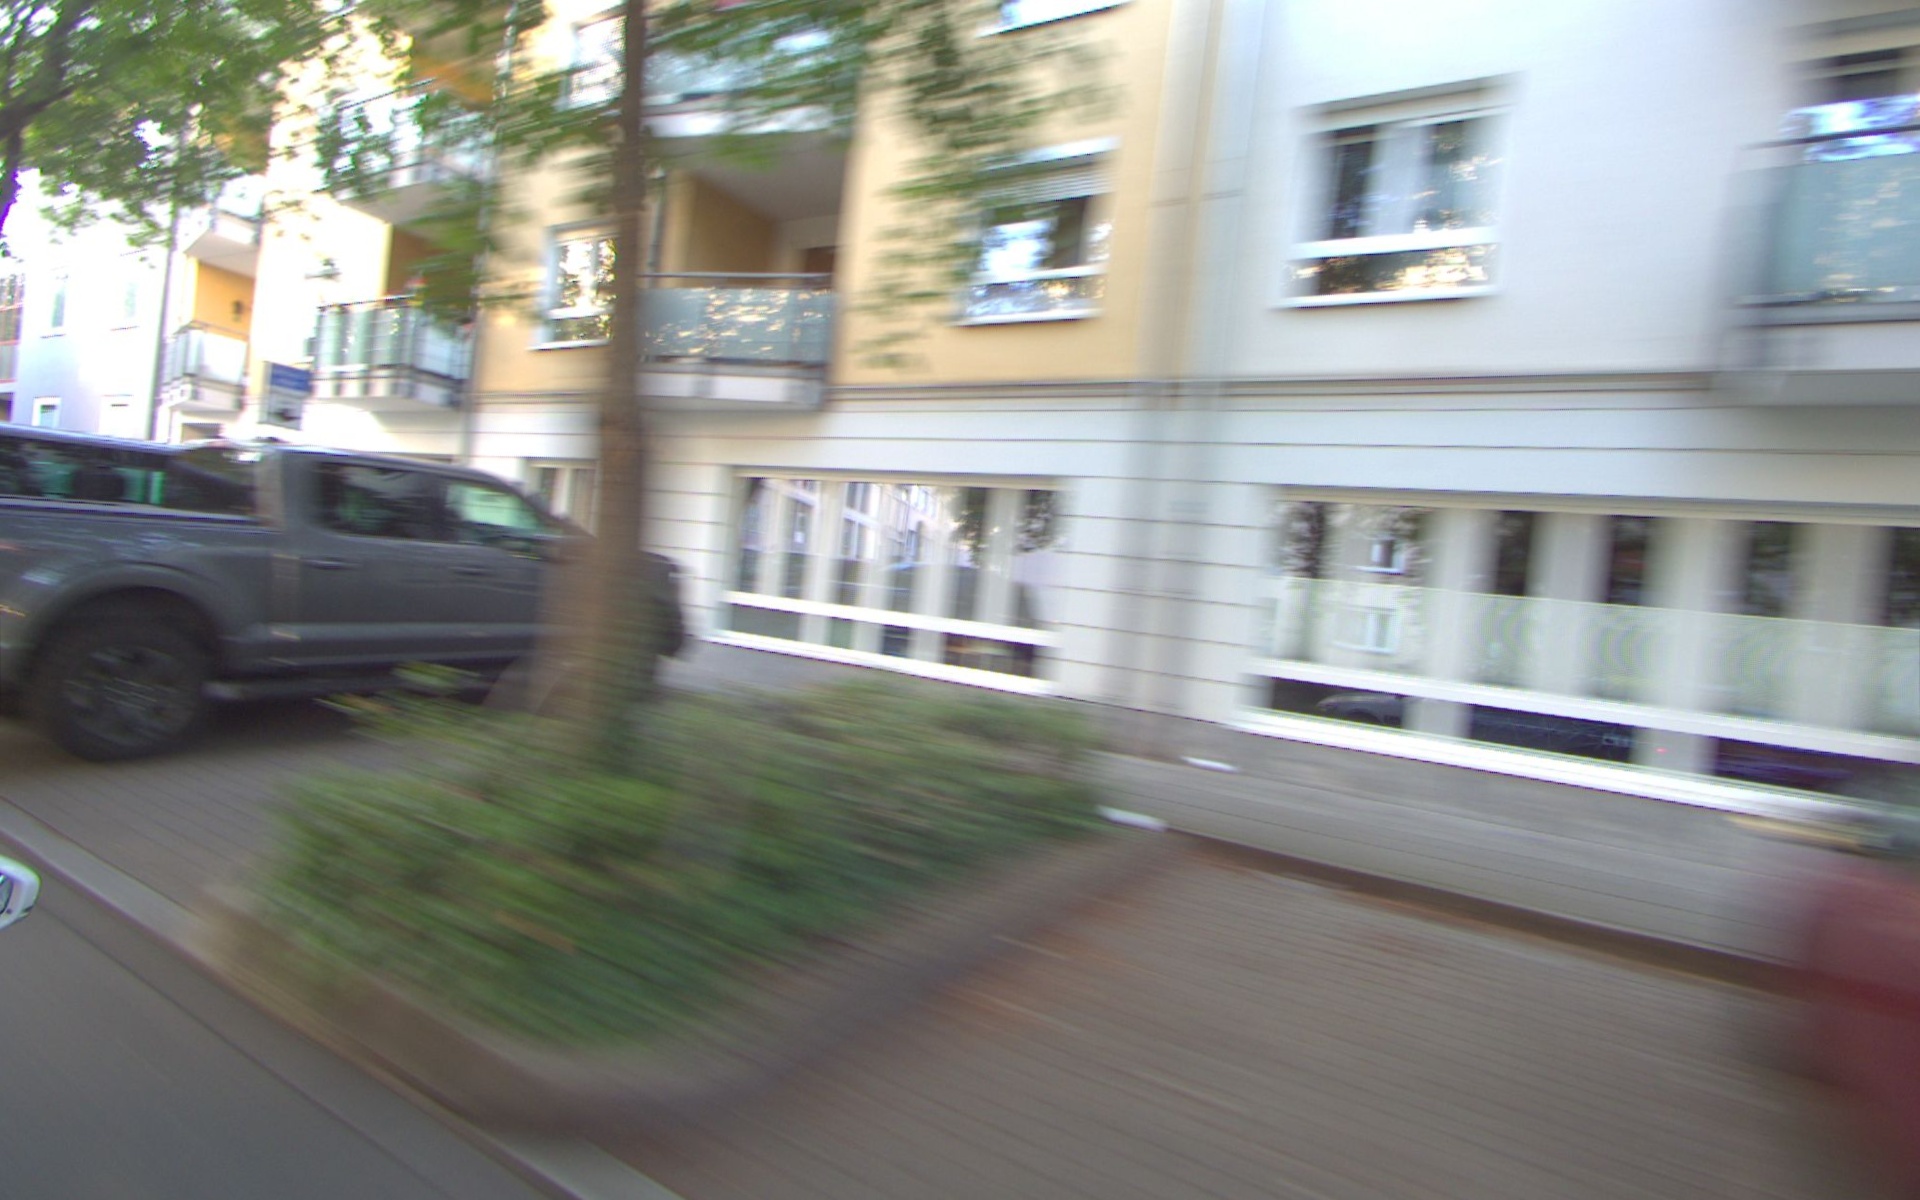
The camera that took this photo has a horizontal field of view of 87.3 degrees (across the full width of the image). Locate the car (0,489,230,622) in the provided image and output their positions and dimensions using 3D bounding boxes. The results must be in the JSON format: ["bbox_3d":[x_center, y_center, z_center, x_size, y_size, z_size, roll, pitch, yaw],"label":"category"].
[{"bbox_3d":[-12.330,-0.660,12.680,1.928,1.521,4.627,6,0,30],"label":"car"}]

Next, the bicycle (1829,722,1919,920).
[{"bbox_3d":[6.083,1.350,5.517,1.851,1.050,0.424,7,2,32],"label":"bicycle"}]

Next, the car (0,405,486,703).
[{"bbox_3d":[-7.002,-0.329,8.808,2.160,2.092,4.606,7,0,30],"label":"car"}]

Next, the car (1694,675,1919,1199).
[{"bbox_3d":[3.248,1.087,2.421,1.846,1.563,3.783,6,-1,30],"label":"car"}]

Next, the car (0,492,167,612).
[{"bbox_3d":[-14.449,-0.858,14.105,1.959,1.538,4.788,6,-1,33],"label":"car"}]

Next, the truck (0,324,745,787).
[{"bbox_3d":[-4.609,-0.136,7.560,2.176,2.339,5.894,6,-1,32],"label":"truck"}]

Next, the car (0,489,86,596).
[{"bbox_3d":[-16.547,-1.136,15.159,1.977,1.590,4.629,6,-1,31],"label":"car"}]
